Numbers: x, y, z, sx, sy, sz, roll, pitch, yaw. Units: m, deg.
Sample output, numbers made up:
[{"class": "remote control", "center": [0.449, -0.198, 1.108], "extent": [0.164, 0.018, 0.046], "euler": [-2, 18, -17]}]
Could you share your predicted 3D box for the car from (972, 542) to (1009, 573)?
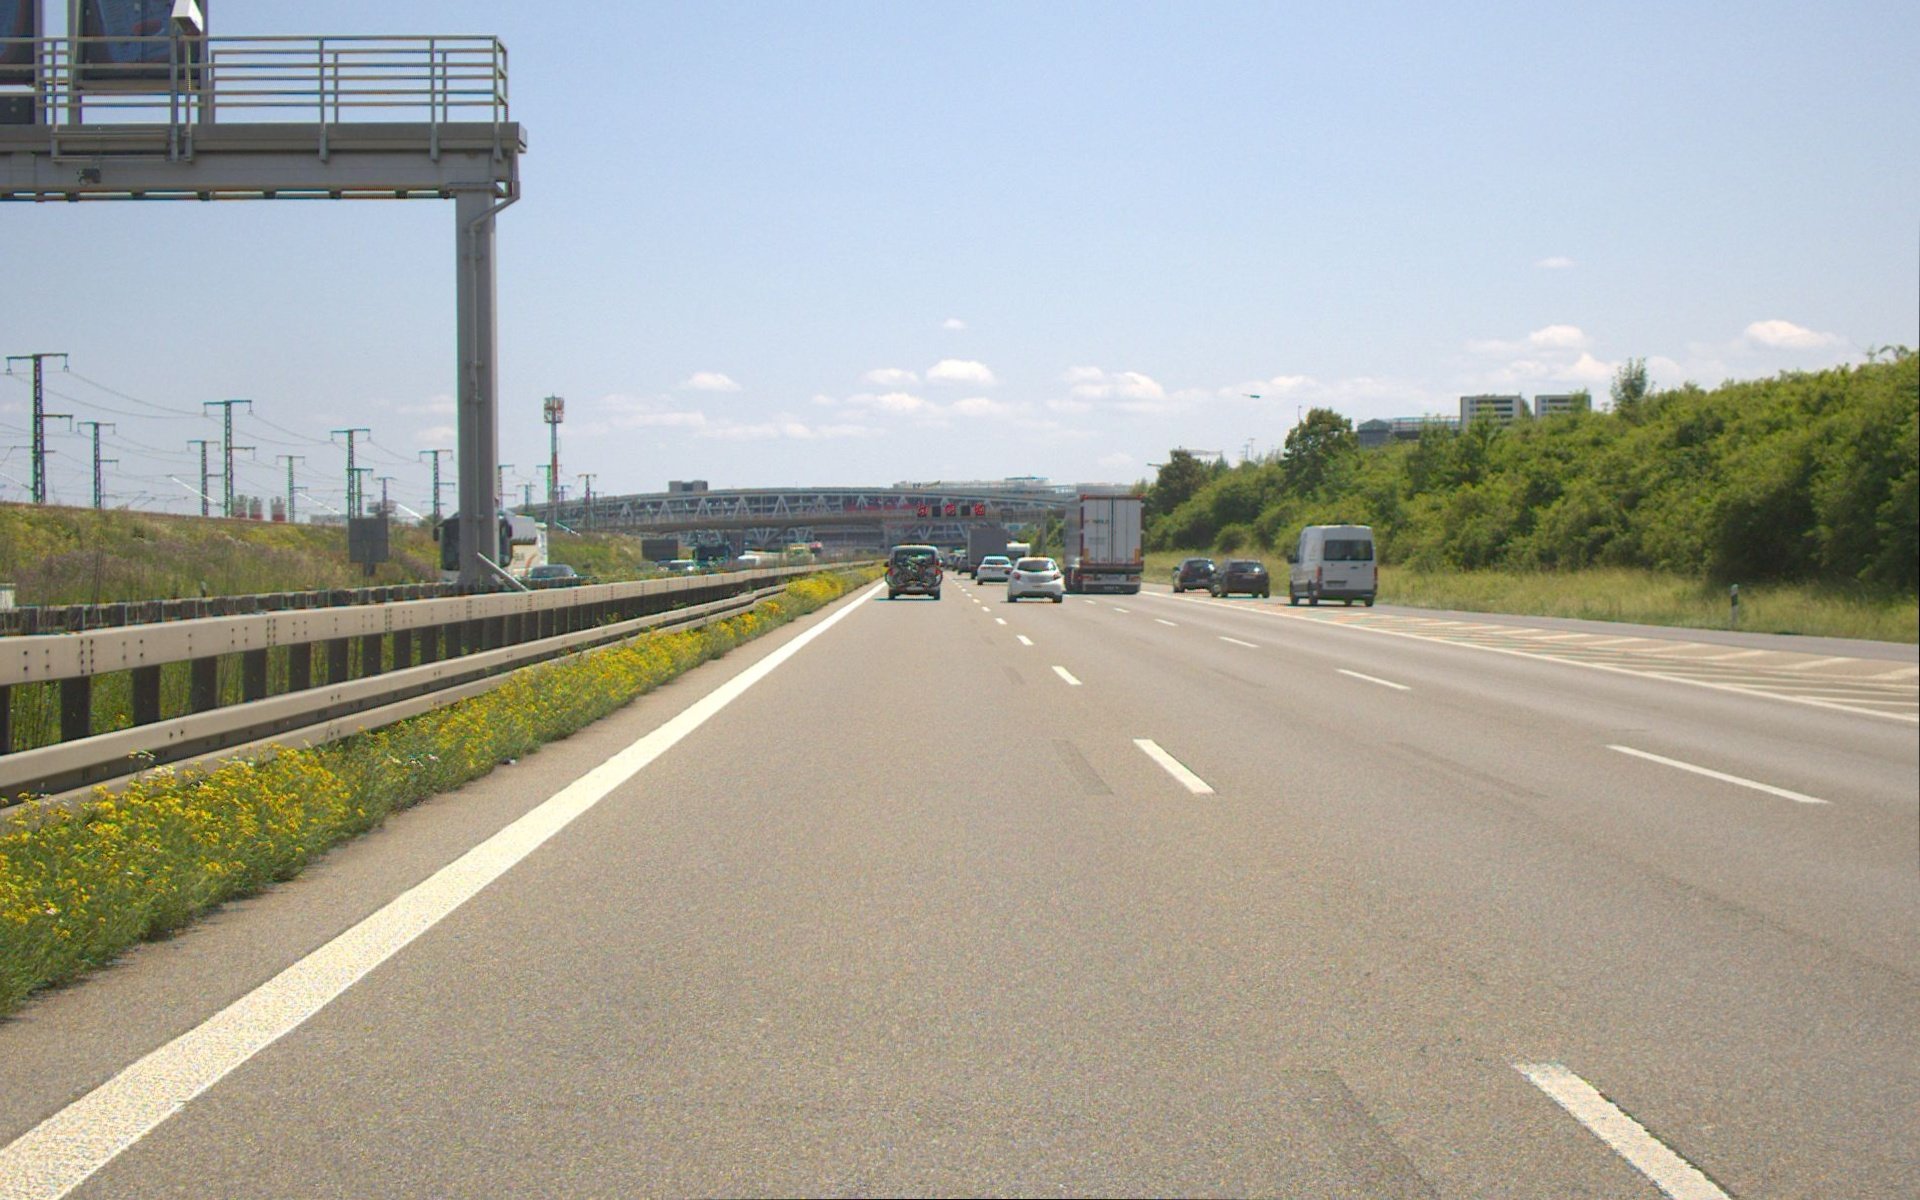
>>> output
[{"class": "car", "center": [1.603, -2.213, 178.799], "extent": [1.881, 1.521, 4.000], "euler": [1, 0, 1]}]

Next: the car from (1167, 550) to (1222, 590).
[{"class": "car", "center": [10.117, -1.280, 148.361], "extent": [1.993, 1.590, 4.000], "euler": [2, -1, -1]}]

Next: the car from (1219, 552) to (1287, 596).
[{"class": "car", "center": [10.938, -0.961, 128.590], "extent": [1.993, 1.503, 4.000], "euler": [2, -1, -3]}]

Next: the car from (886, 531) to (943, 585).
[{"class": "car", "center": [-1.530, -1.405, 116.295], "extent": [1.881, 1.769, 4.000], "euler": [0, 0, 0]}]

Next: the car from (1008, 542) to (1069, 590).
[{"class": "car", "center": [2.581, -1.092, 111.922], "extent": [1.881, 1.521, 4.000], "euler": [1, 0, 2]}]

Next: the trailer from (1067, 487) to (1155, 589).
[{"class": "trailer", "center": [6.210, -2.566, 142.798], "extent": [3.177, 4.046, 9.440], "euler": [-1, 1, 0]}]

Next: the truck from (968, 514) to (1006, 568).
[{"class": "truck", "center": [1.709, -3.826, 222.219], "extent": [2.355, 3.404, 6.057], "euler": [0, 1, 0]}]

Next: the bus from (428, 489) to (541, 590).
[{"class": "bus", "center": [-18.041, -2.301, 131.112], "extent": [2.856, 3.633, 10.942], "euler": [1, 1, -1]}]

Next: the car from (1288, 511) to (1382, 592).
[{"class": "car", "center": [11.973, -1.565, 109.979], "extent": [2.274, 2.519, 5.400], "euler": [0, 1, -1]}]
